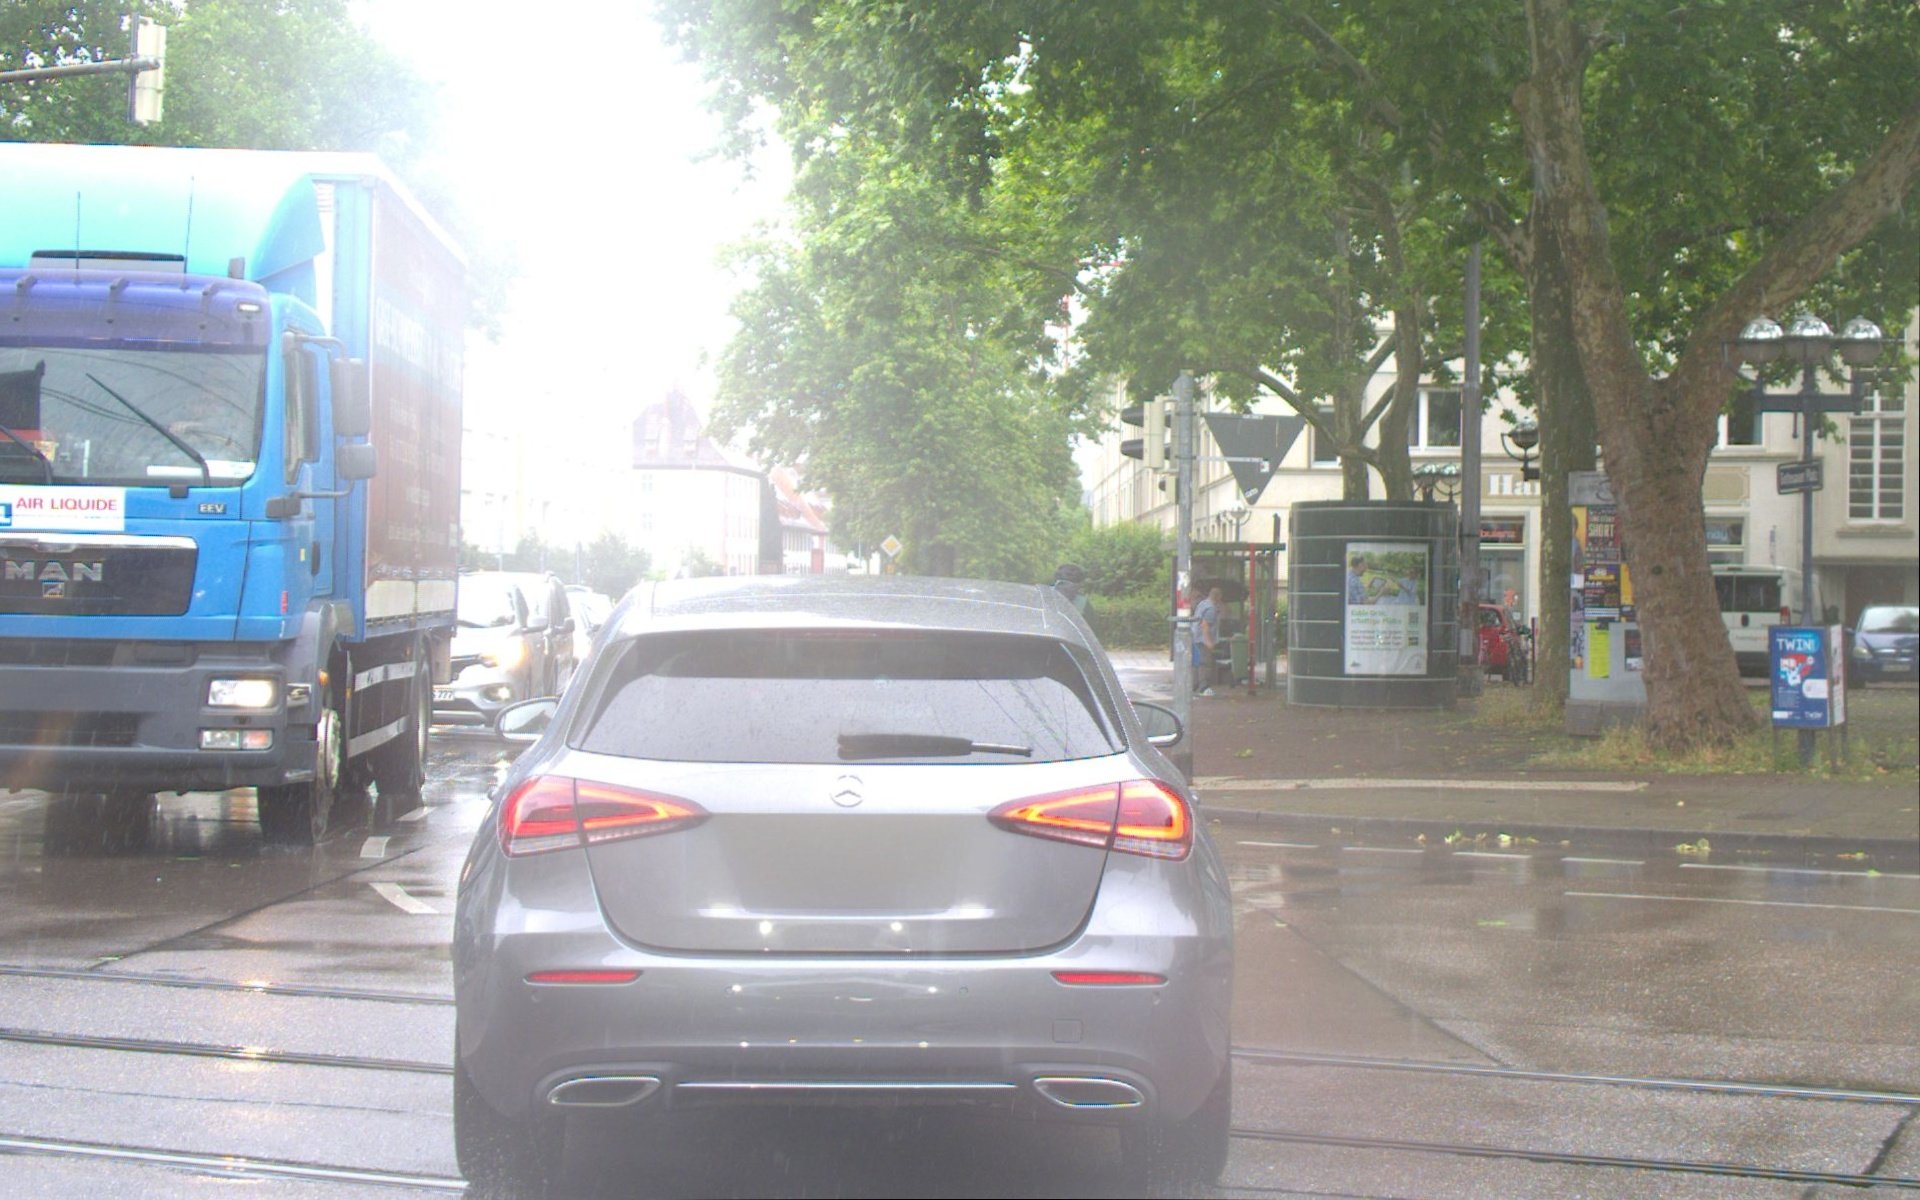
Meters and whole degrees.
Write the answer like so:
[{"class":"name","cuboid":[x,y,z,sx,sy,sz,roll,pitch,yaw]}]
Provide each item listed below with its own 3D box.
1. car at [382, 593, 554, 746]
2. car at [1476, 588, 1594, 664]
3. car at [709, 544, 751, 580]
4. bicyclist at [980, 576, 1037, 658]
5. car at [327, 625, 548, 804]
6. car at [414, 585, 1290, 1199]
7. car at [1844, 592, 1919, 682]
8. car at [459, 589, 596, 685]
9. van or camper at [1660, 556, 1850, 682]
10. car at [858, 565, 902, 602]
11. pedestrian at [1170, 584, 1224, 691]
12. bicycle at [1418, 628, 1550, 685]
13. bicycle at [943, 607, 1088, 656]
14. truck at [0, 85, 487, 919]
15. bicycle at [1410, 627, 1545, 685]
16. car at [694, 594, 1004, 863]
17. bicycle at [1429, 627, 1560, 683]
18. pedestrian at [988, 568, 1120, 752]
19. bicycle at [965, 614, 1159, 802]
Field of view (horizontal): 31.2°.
[{"class":"car","cuboid":[-6.279,0.849,44.235,1.806,1.855,4.110,1,0,-3]},{"class":"car","cuboid":[10.960,0.504,65.365,1.584,1.332,3.258,0,-2,21]},{"class":"car","cuboid":[-12.158,-1.990,181.615,1.889,1.830,4.000,1,0,1]},{"class":"bicyclist","cuboid":[1.120,0.411,79.809,0.938,1.862,1.143,1,-2,-21]},{"class":"car","cuboid":[-5.084,1.077,33.890,1.742,1.598,4.000,1,0,-3]},{"class":"car","cuboid":[-0.323,0.680,8.954,1.791,1.368,3.507,2,0,-3]},{"class":"car","cuboid":[17.172,0.688,62.986,1.681,1.570,3.732,1,-1,17]},{"class":"car","cuboid":[-6.701,0.574,53.589,1.742,1.385,4.363,2,-1,-3]},{"class":"van or camper","cuboid":[14.875,0.348,64.109,2.399,2.224,5.422,1,0,25]},{"class":"car","cuboid":[-4.051,-0.835,174.480,2.046,1.830,4.792,1,0,1]},{"class":"pedestrian","cuboid":[3.751,0.587,54.400,0.716,1.663,0.665,1,0,-8]},{"class":"bicycle","cuboid":[9.323,1.006,61.198,2.254,0.965,0.534,1,0,20]},{"class":"bicycle","cuboid":[1.294,0.734,79.916,3.205,1.108,1.054,0,-2,-21]},{"class":"truck","cuboid":[-4.788,-0.501,21.713,2.845,4.012,10.317,0,0,-4]},{"class":"bicycle","cuboid":[9.116,0.988,60.582,2.283,0.979,0.545,1,0,20]},{"class":"car","cuboid":[-0.689,0.661,19.839,1.607,1.368,4.000,0,0,-3]},{"class":"bicycle","cuboid":[9.603,0.978,61.809,2.249,0.965,0.584,1,0,20]},{"class":"pedestrian","cuboid":[0.737,0.451,26.742,0.745,1.393,1.046,0,0,19]},{"class":"bicycle","cuboid":[0.833,0.810,26.999,0.750,1.372,2.704,0,0,19]}]
